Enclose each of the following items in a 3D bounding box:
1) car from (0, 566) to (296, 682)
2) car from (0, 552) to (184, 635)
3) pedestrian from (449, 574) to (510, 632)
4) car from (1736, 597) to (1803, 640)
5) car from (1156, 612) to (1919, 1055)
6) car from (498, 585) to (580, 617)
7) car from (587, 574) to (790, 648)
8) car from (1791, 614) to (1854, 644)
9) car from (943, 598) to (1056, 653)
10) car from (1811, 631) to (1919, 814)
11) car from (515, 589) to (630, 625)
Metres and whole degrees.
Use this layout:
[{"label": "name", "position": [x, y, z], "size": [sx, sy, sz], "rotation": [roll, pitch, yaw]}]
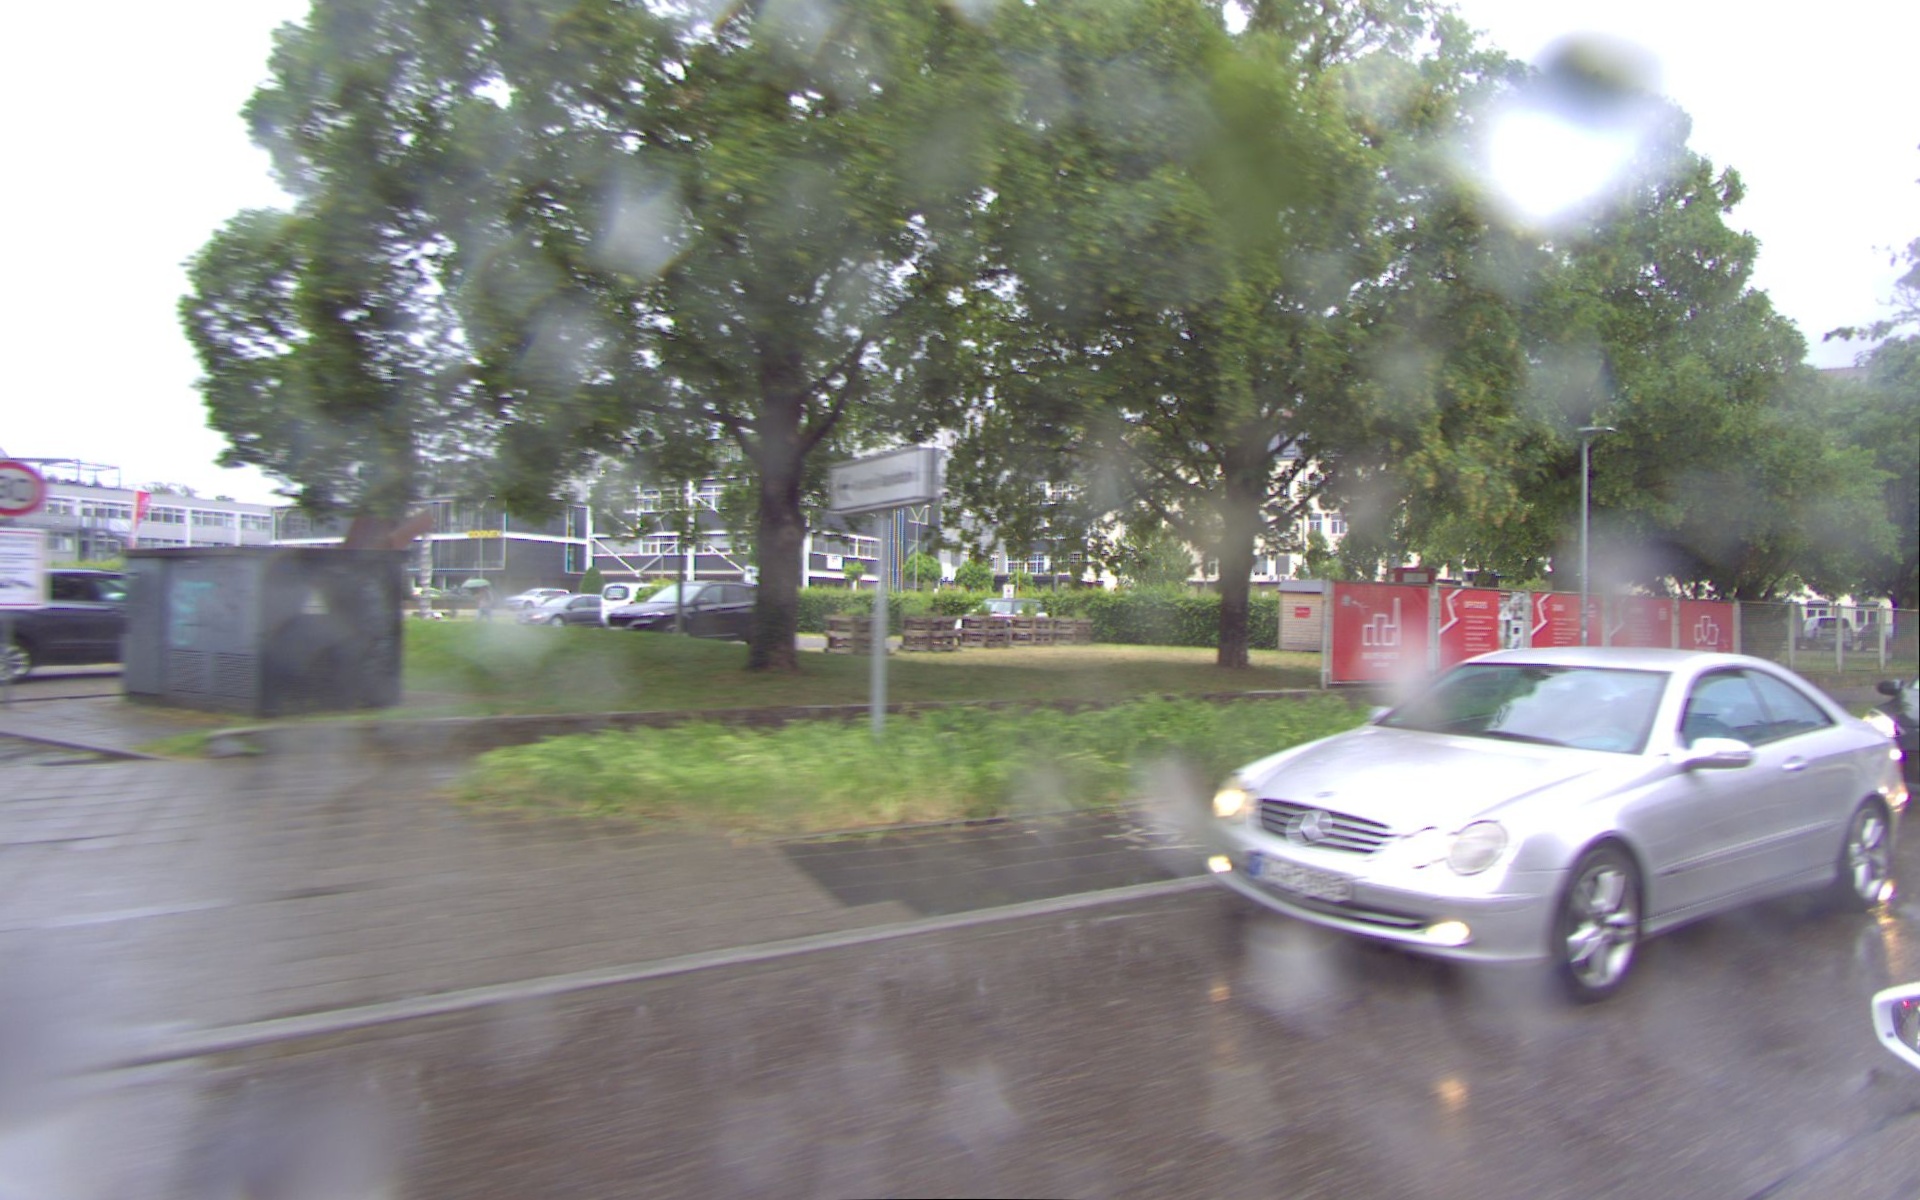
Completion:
[{"label": "car", "position": [-12.643, 0.322, 14.946], "size": [1.758, 1.529, 4.291], "rotation": [0, 0, 30]}, {"label": "car", "position": [-25.314, -0.166, 28.402], "size": [1.963, 2.180, 4.966], "rotation": [1, 0, 28]}, {"label": "pedestrian", "position": [-15.786, 0.096, 33.012], "size": [1.053, 1.864, 1.475], "rotation": [1, 0, 41]}, {"label": "car", "position": [42.525, 0.969, 52.846], "size": [1.963, 2.150, 3.994], "rotation": [2, 0, 28]}, {"label": "car", "position": [3.442, 0.855, 5.360], "size": [4.776, 1.422, 1.765], "rotation": [2, 0, -32]}, {"label": "car", "position": [-28.457, 0.098, 68.057], "size": [1.965, 2.040, 4.841], "rotation": [1, 0, 32]}, {"label": "car", "position": [-6.259, 0.252, 23.624], "size": [1.966, 1.547, 4.421], "rotation": [1, 0, 33]}, {"label": "car", "position": [44.368, 1.472, 51.759], "size": [1.679, 1.453, 3.644], "rotation": [2, 0, 28]}, {"label": "car", "position": [1.313, 0.790, 31.628], "size": [1.772, 1.604, 3.989], "rotation": [1, -1, 33]}, {"label": "car", "position": [9.542, 1.014, 8.898], "size": [4.215, 1.439, 1.770], "rotation": [1, -1, -30]}, {"label": "car", "position": [-15.285, 0.284, 39.804], "size": [1.748, 1.341, 3.996], "rotation": [1, 0, 34]}]
